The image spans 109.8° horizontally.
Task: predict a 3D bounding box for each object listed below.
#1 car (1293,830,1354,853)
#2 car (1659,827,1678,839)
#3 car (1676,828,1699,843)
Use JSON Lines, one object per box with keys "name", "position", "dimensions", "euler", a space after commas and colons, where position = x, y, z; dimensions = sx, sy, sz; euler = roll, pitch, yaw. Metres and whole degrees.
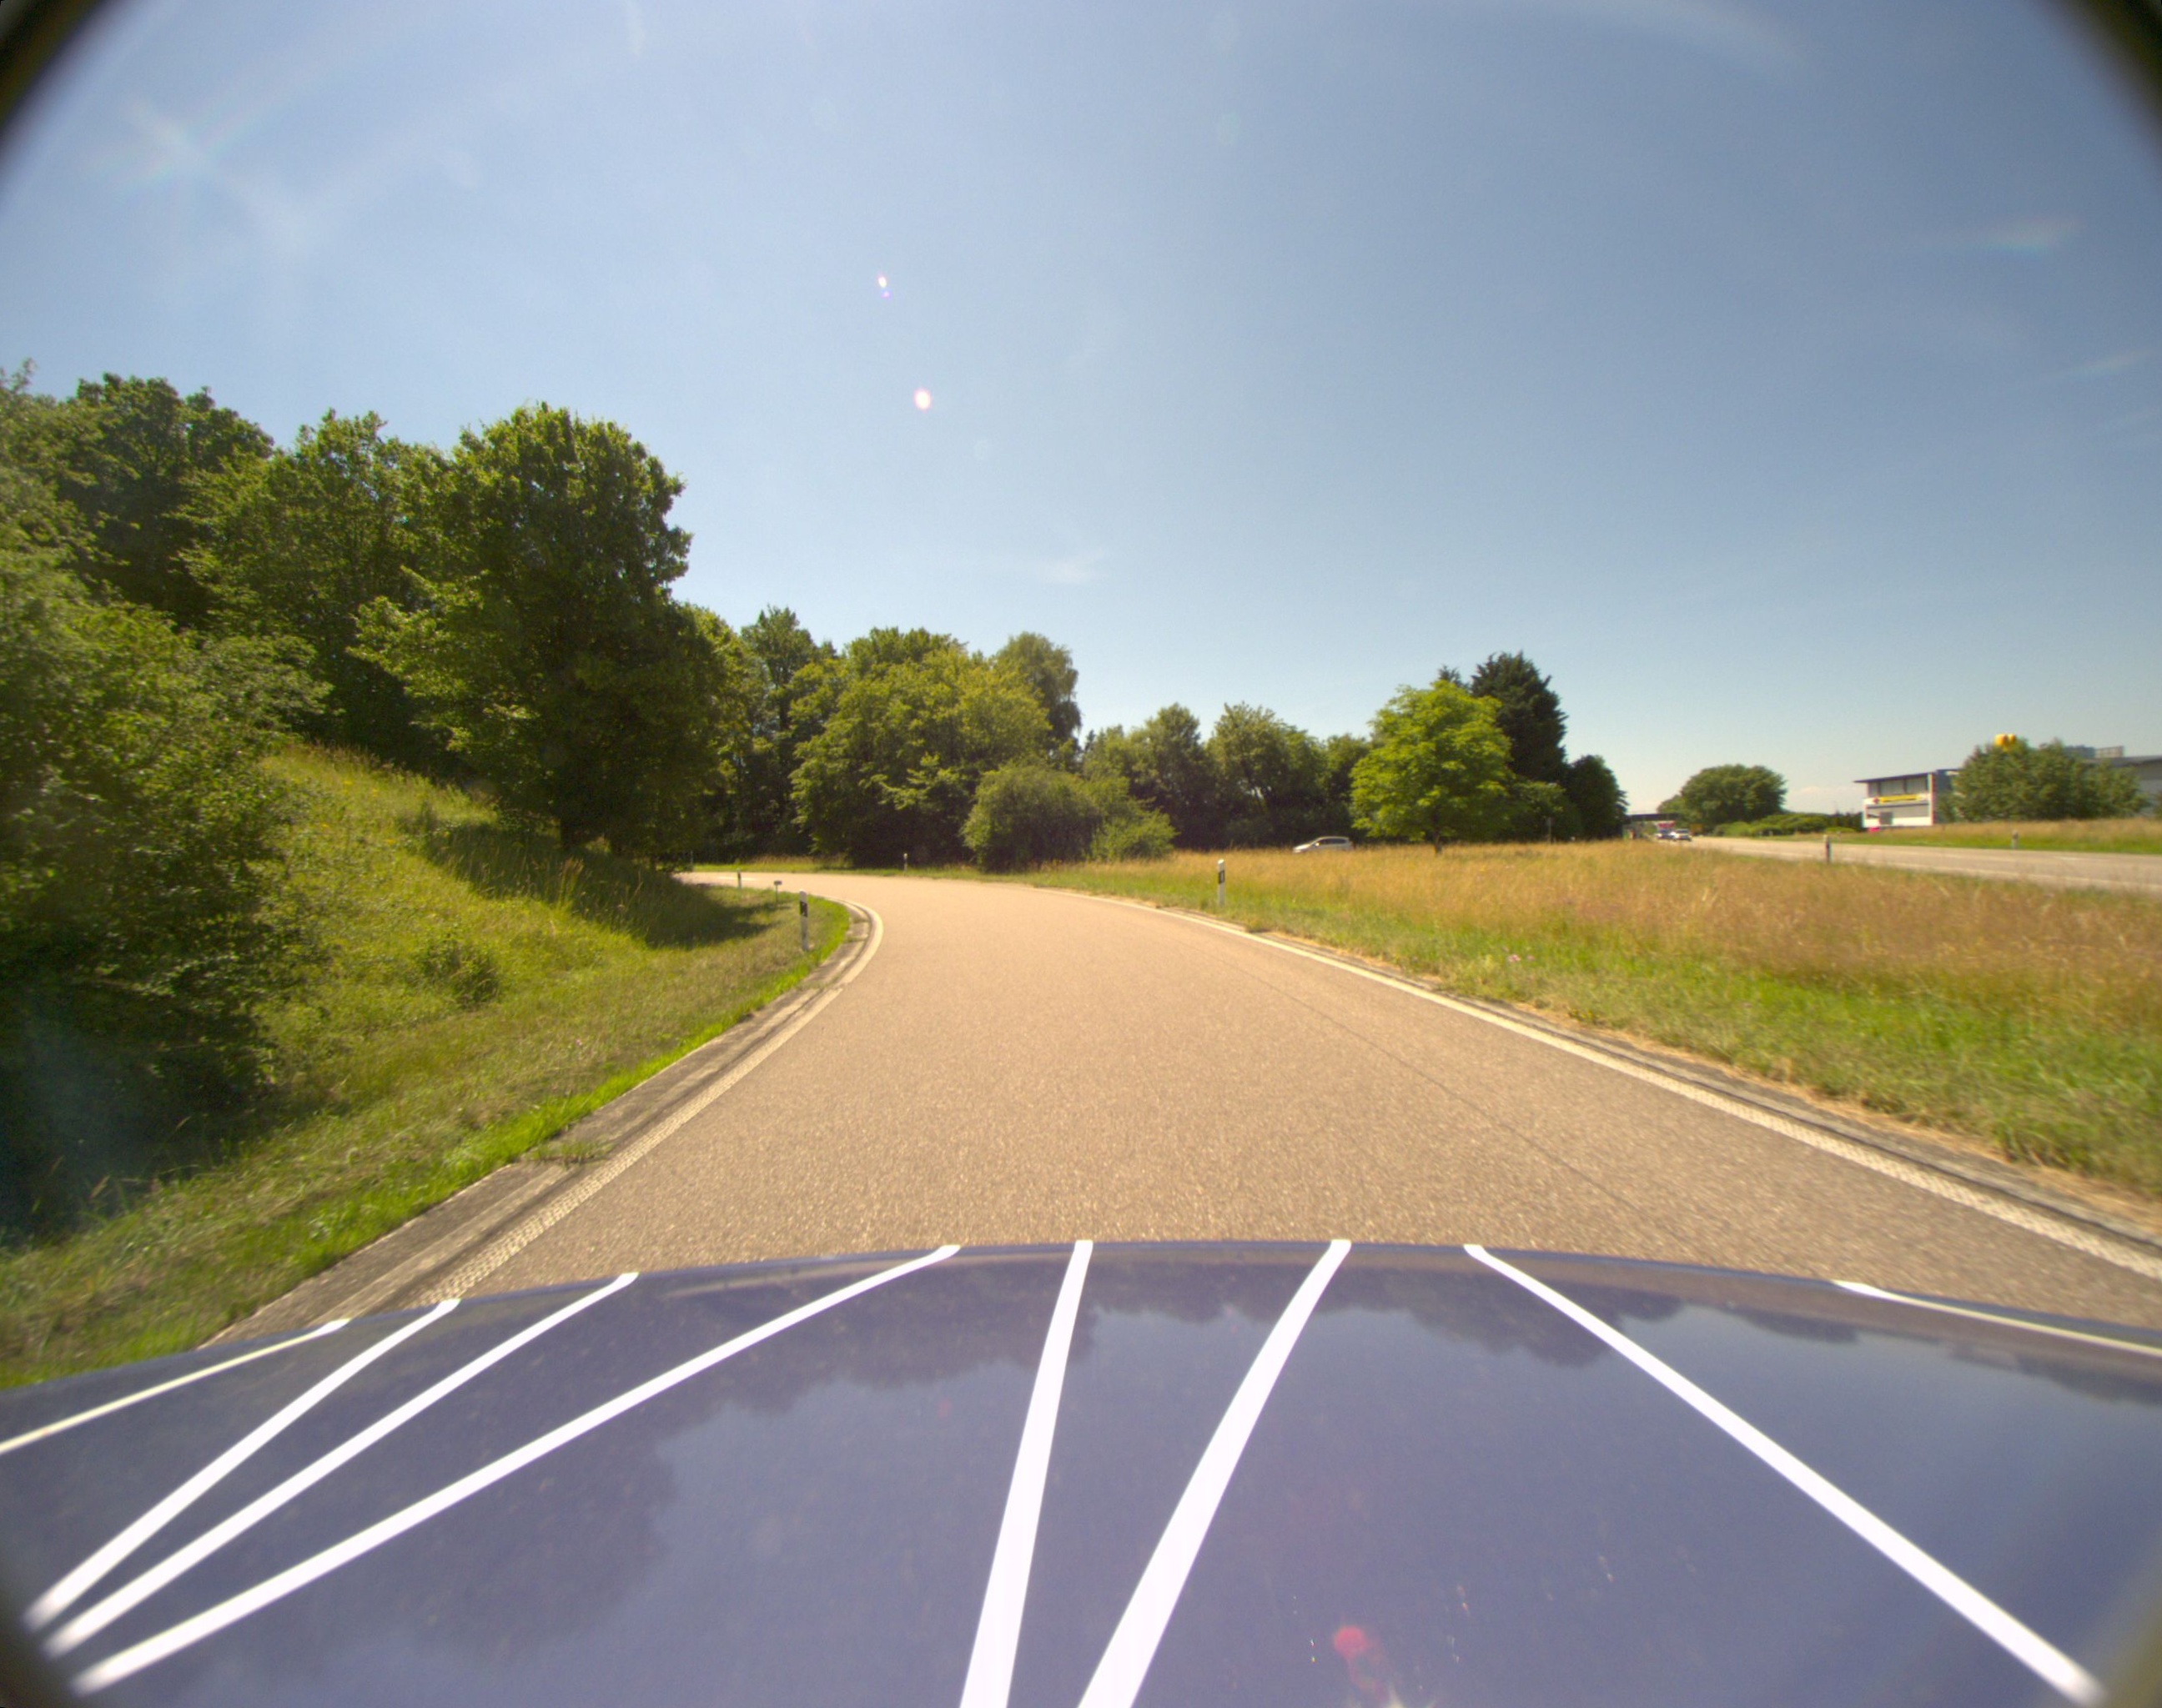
{"name": "car", "position": [17.629, -0.900, 55.352], "dimensions": [3.995, 1.586, 1.858], "euler": [-1, 0, 7]}
{"name": "car", "position": [90.141, -3.230, 116.644], "dimensions": [1.910, 1.771, 4.465], "euler": [-1, 0, 33]}
{"name": "car", "position": [79.236, -2.399, 99.311], "dimensions": [1.910, 1.949, 4.465], "euler": [-1, 0, 33]}
